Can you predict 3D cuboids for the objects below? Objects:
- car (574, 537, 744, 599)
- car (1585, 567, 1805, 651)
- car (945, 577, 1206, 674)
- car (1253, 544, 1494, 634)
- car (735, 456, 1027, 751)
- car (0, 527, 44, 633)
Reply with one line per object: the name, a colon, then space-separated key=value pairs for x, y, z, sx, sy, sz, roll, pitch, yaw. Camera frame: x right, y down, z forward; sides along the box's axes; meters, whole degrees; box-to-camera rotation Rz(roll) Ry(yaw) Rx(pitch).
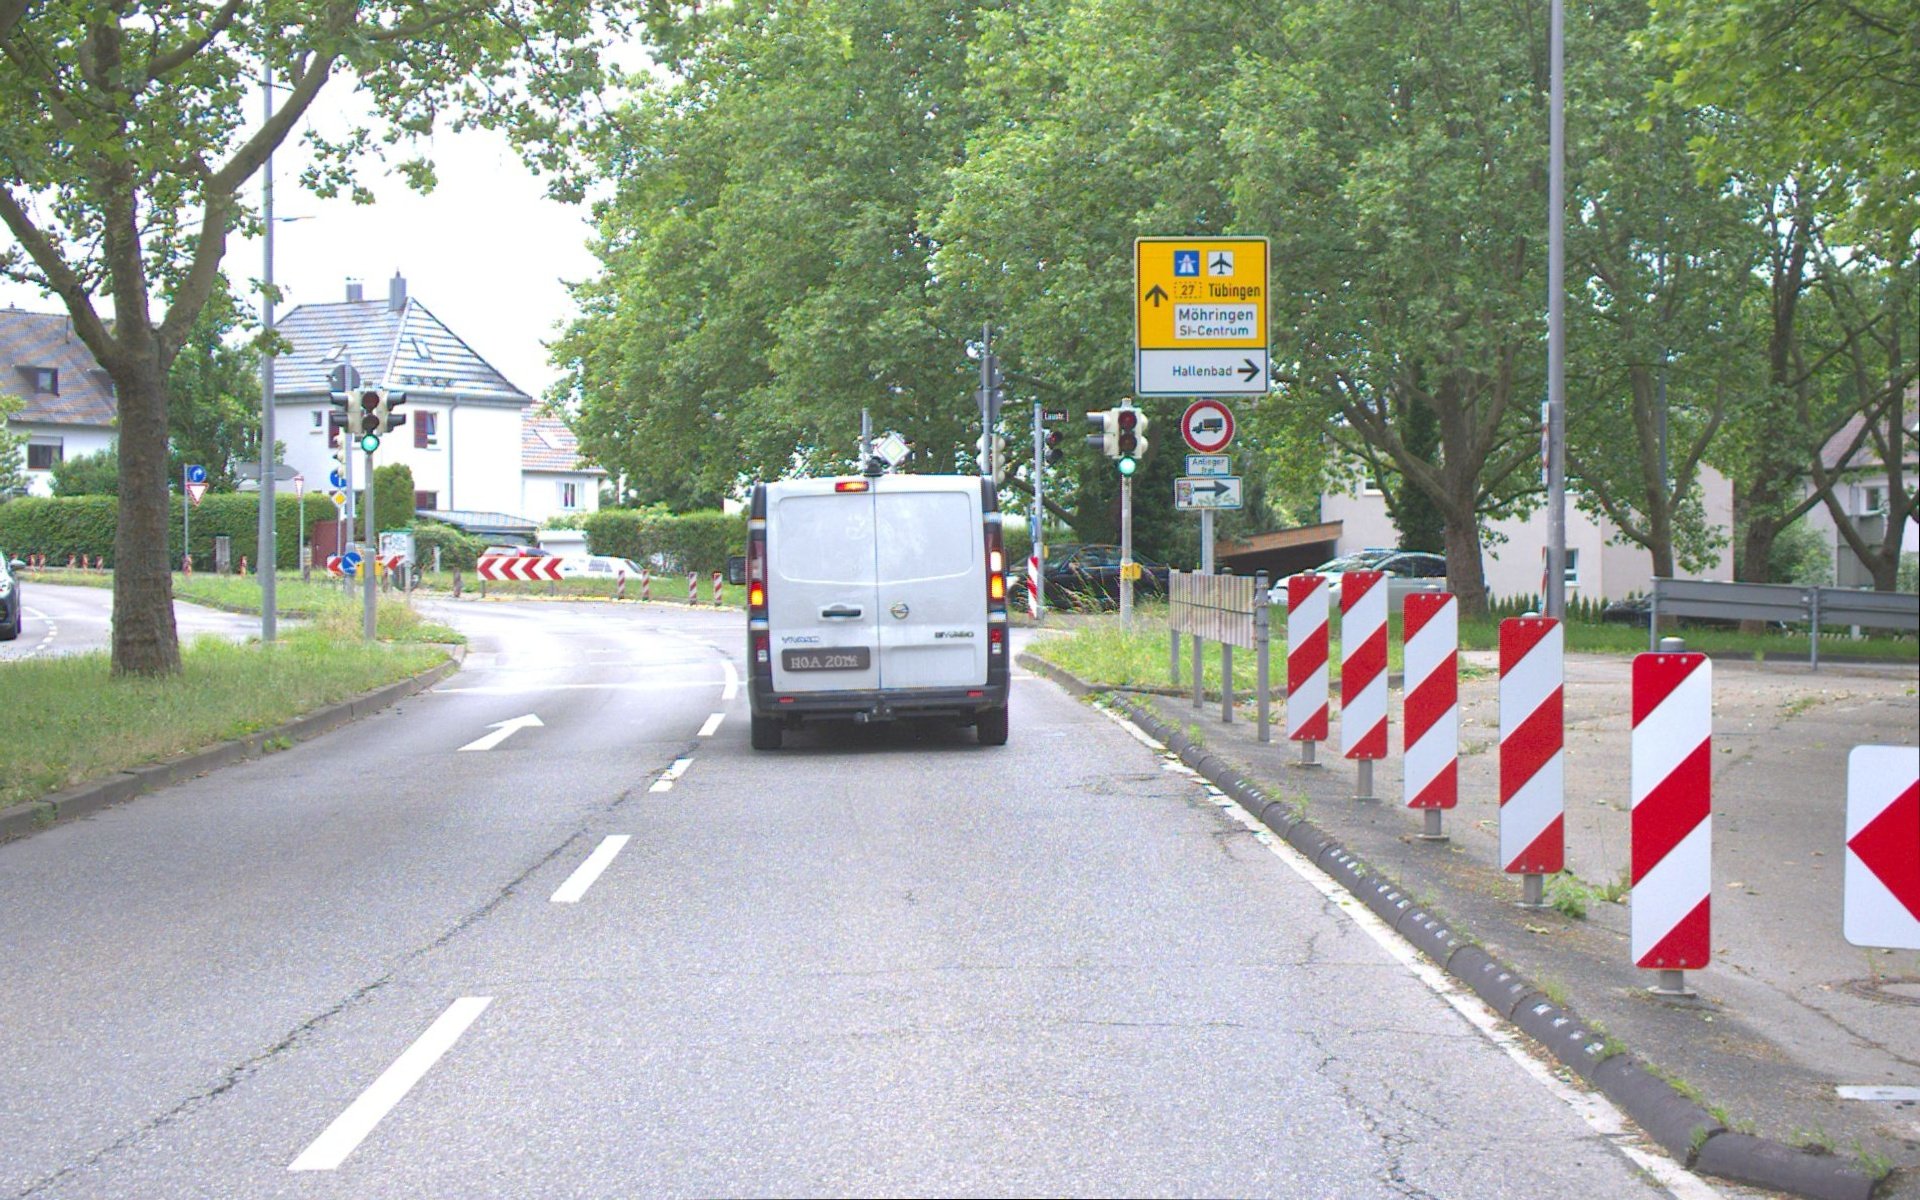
car: x=-8.889 y=-0.964 z=101.361 sx=4.738 sy=1.763 sz=1.996 roll=1 pitch=1 yaw=33
car: x=16.016 y=0.182 z=74.832 sx=4.730 sy=1.763 sz=2.000 roll=0 pitch=1 yaw=-36
car: x=2.217 y=0.460 z=65.393 sx=4.730 sy=1.763 sz=2.000 roll=0 pitch=1 yaw=-36
car: x=8.376 y=-0.233 z=69.502 sx=4.730 sy=1.763 sz=2.000 roll=0 pitch=1 yaw=-36
car: x=-0.679 y=-0.005 z=26.188 sx=2.006 sy=2.031 sz=5.011 roll=0 pitch=1 yaw=-3
car: x=-15.690 y=-0.309 z=54.363 sx=1.946 sy=1.619 sz=4.432 roll=0 pitch=0 yaw=-20
